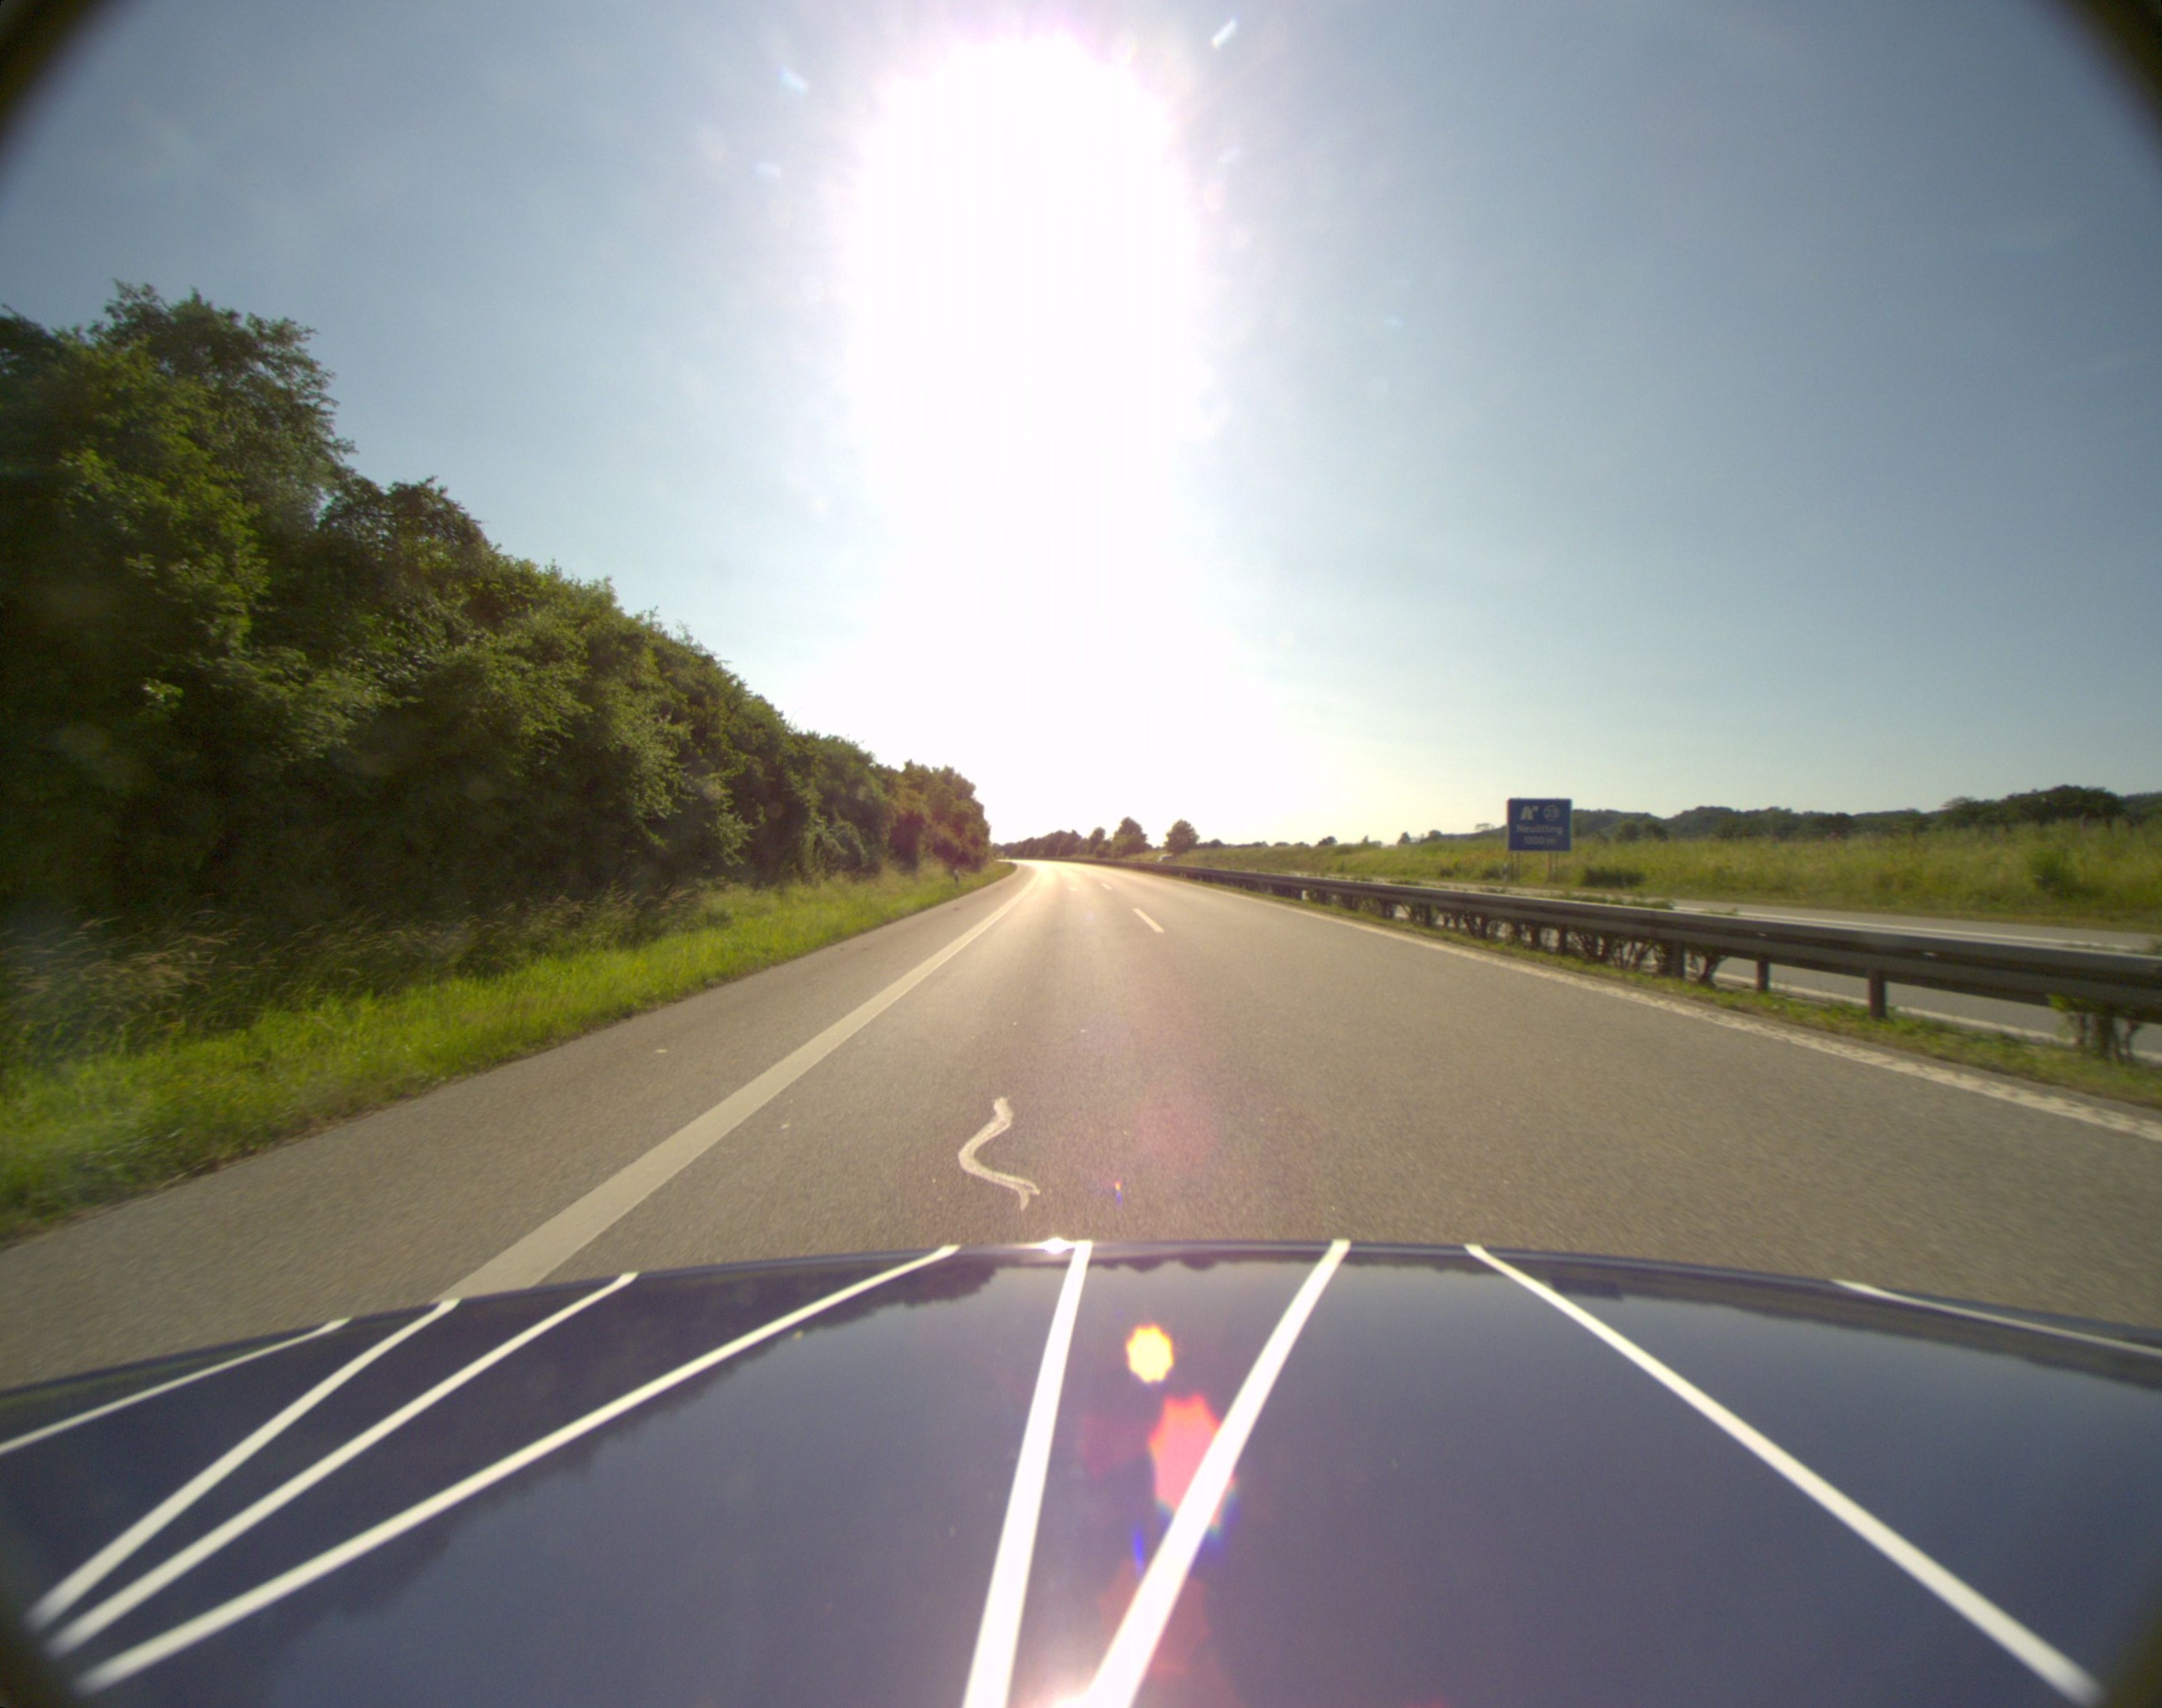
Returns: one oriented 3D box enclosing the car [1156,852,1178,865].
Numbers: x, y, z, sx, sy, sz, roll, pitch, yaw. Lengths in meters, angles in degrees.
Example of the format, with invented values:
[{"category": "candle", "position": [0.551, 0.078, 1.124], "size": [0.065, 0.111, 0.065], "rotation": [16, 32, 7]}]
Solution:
[{"category": "car", "position": [10.717, 0.534, 95.133], "size": [1.771, 1.613, 5.006], "rotation": [2, 0, -4]}]
